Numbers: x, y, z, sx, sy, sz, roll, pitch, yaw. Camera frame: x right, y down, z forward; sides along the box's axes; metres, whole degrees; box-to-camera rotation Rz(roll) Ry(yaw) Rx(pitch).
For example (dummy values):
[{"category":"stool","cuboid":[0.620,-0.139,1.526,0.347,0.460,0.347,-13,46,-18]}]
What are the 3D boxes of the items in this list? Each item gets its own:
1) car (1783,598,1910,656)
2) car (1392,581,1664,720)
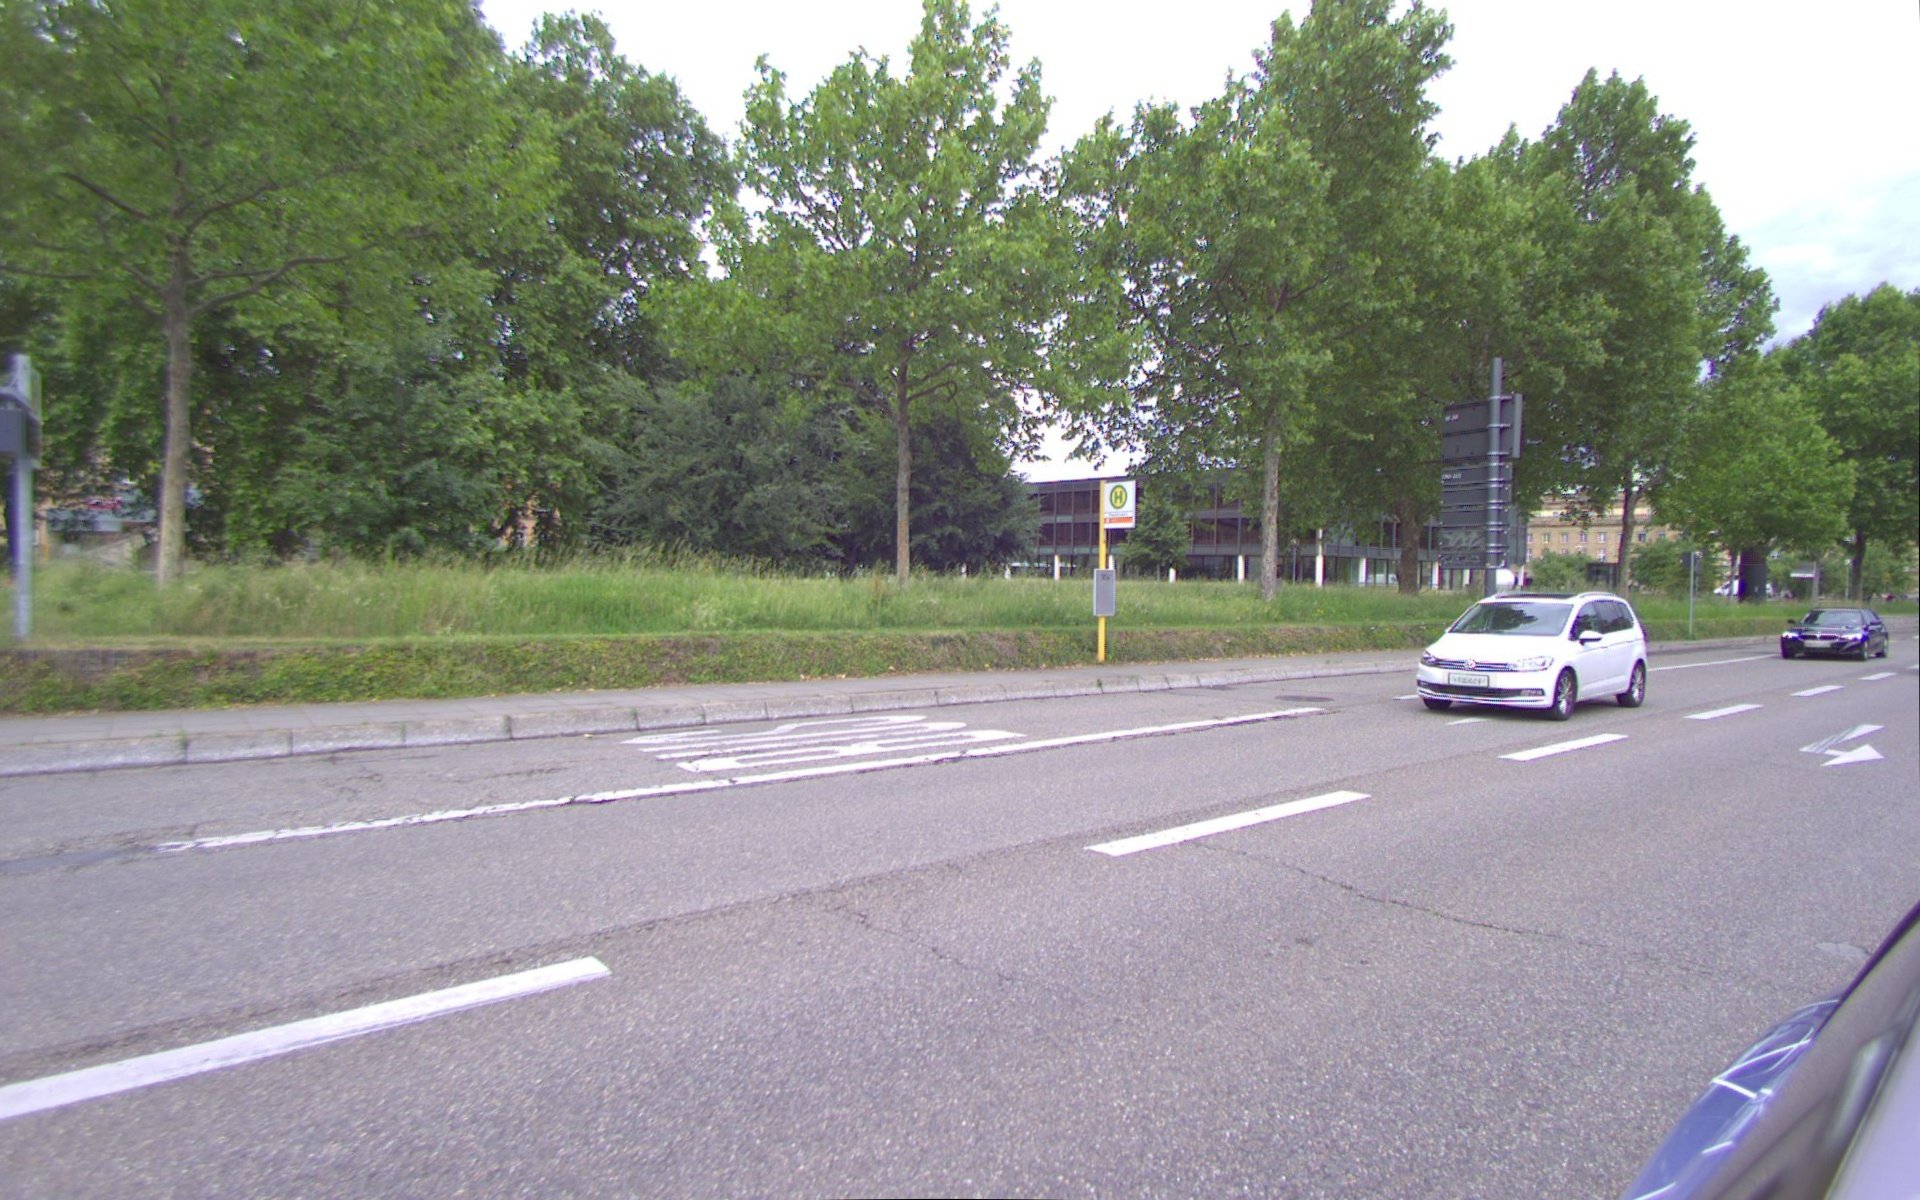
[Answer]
[{"category":"car","cuboid":[25.026,0.690,28.531,4.445,1.478,1.936,-1,0,-39]},{"category":"car","cuboid":[8.130,0.599,14.344,4.228,1.660,1.998,0,1,-40]}]
